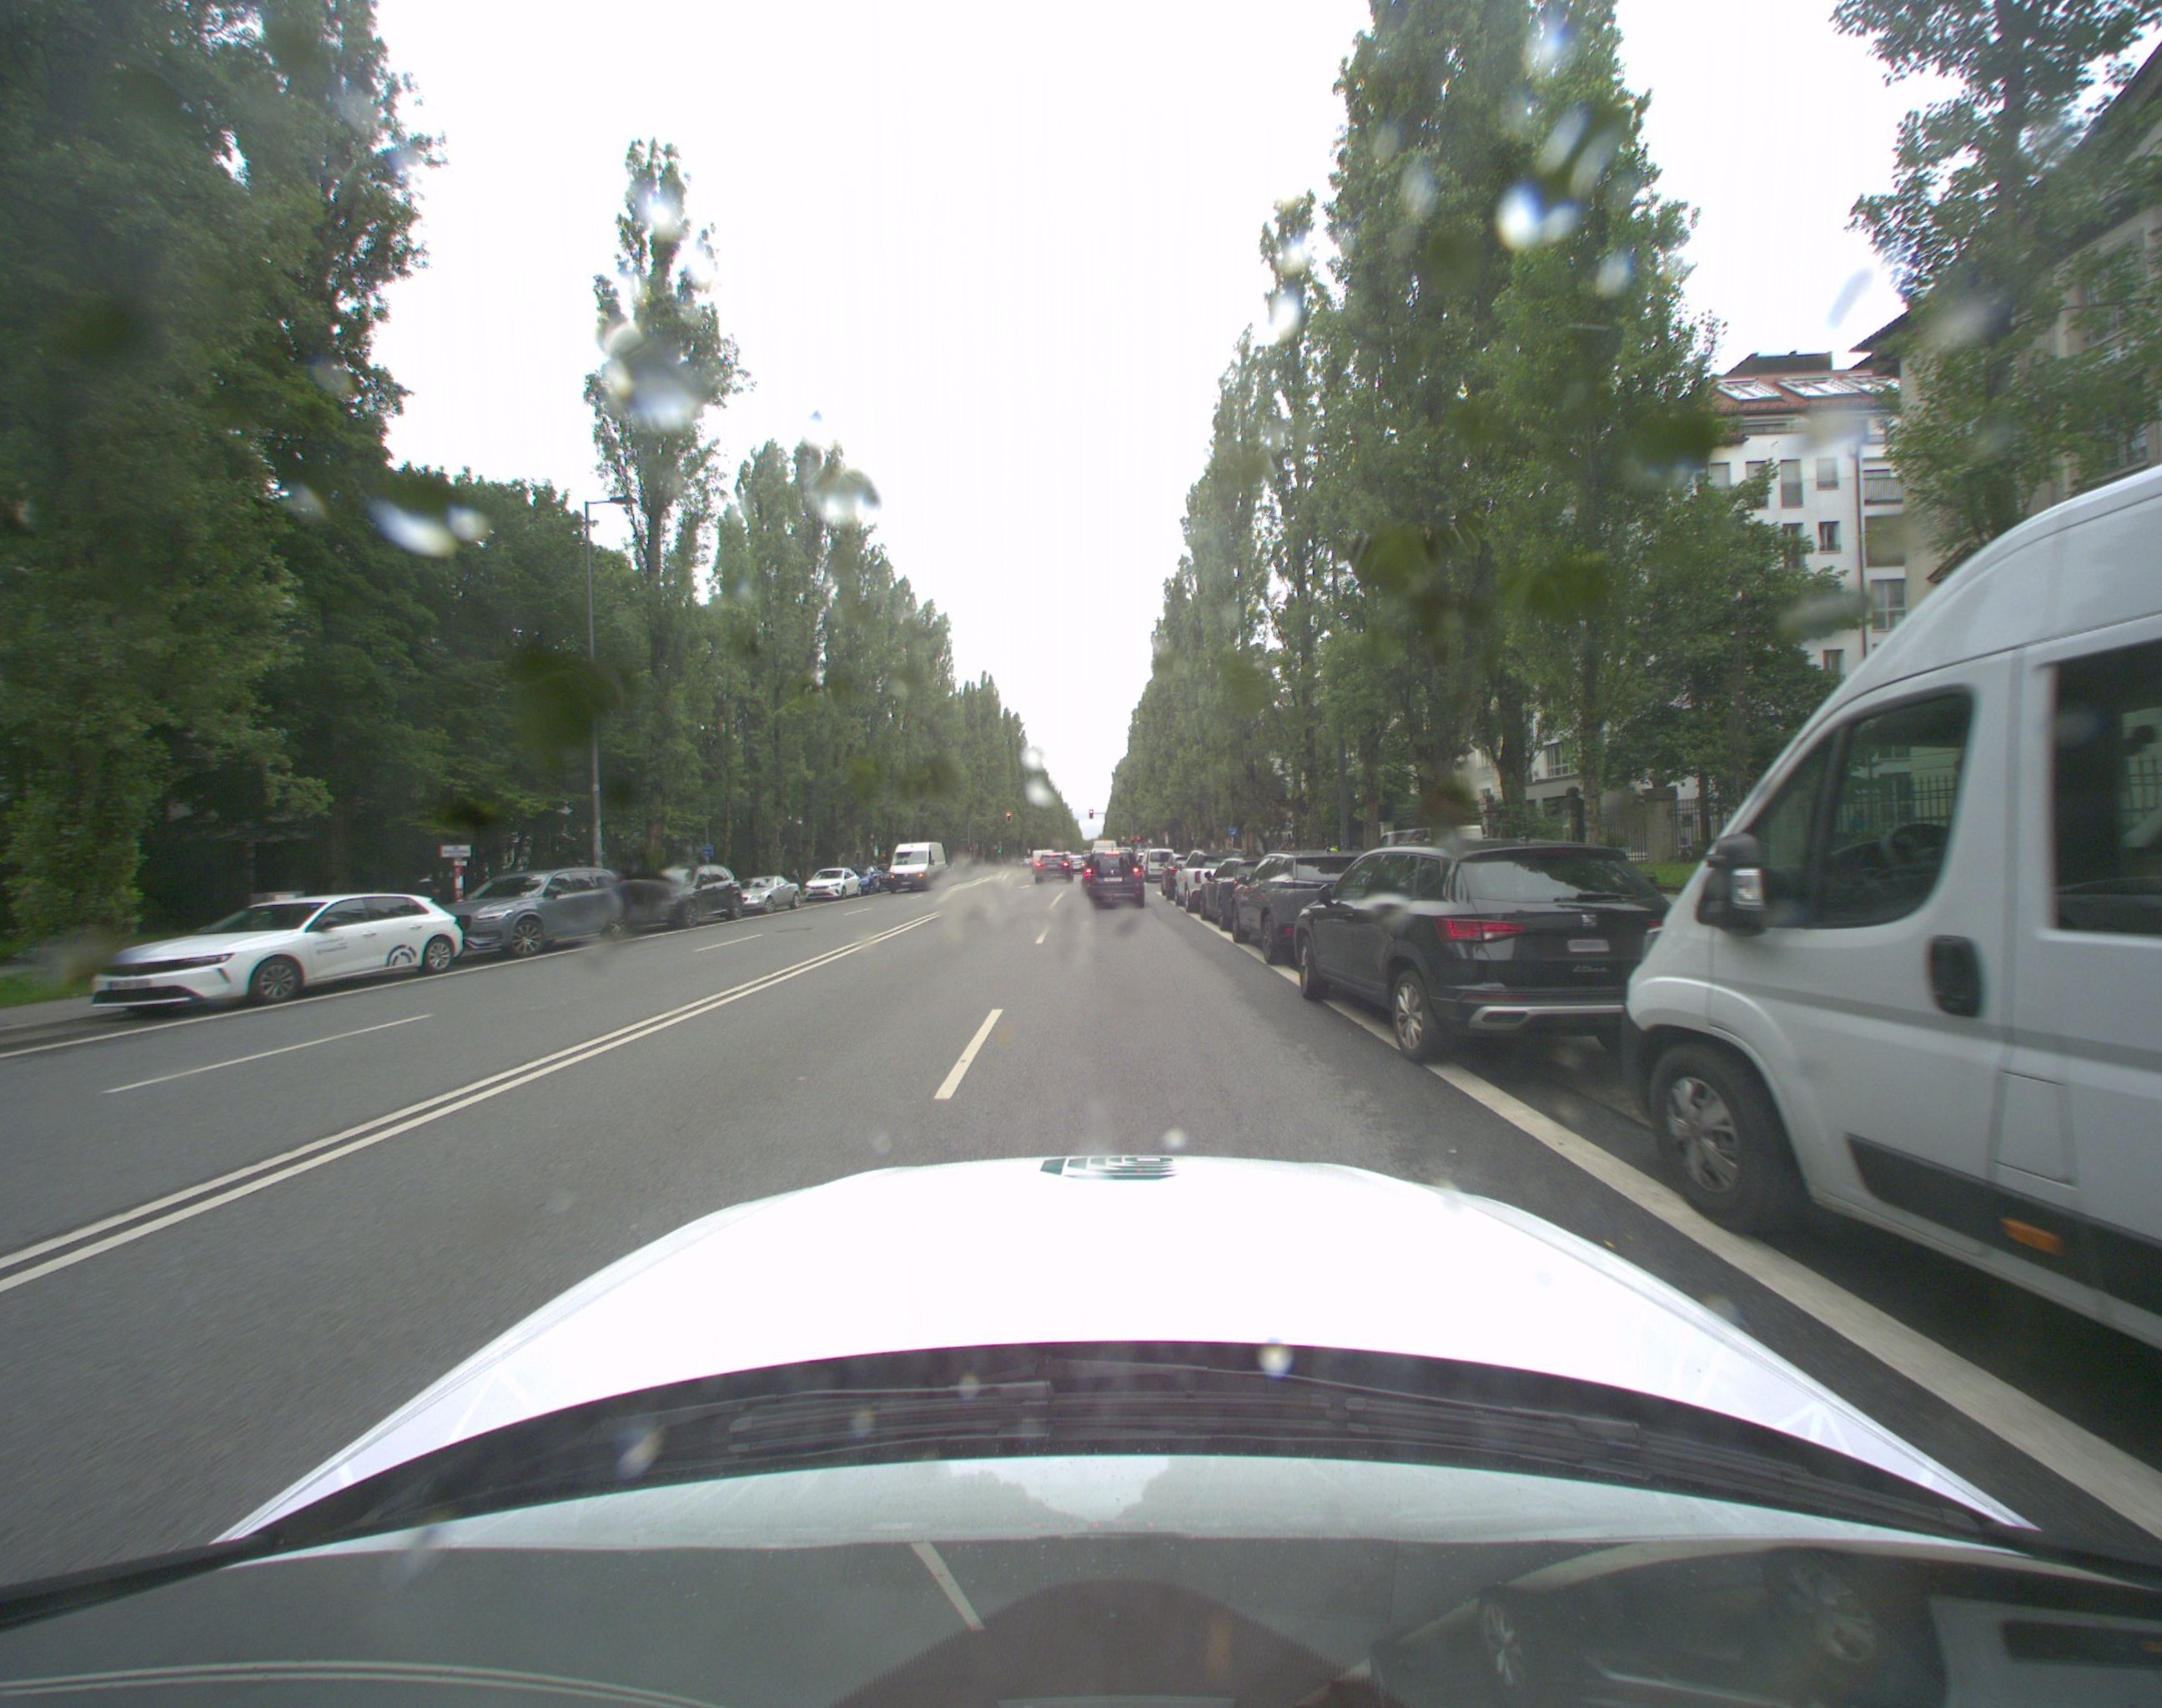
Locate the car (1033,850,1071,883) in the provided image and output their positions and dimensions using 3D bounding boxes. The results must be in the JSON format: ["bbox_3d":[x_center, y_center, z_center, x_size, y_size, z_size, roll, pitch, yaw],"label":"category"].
[{"bbox_3d":[-1.525,0.647,44.309,1.775,1.620,4.026,-3,0,1],"label":"car"}]

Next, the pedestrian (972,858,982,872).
[{"bbox_3d":[-13.402,1.414,105.056,0.887,1.655,0.868,-2,0,-37],"label":"pedestrian"}]

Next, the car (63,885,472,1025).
[{"bbox_3d":[-11.664,1.332,12.211,1.698,1.459,4.273,-4,0,1],"label":"car"}]

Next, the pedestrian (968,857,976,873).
[{"bbox_3d":[-10.749,1.078,80.554,0.658,1.577,0.530,-2,0,2],"label":"pedestrian"}]

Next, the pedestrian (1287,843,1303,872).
[{"bbox_3d":[11.855,0.185,45.128,0.566,1.578,0.867,-2,0,1],"label":"pedestrian"}]

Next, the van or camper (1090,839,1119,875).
[{"bbox_3d":[1.715,0.213,60.814,1.969,2.548,4.024,-2,0,0],"label":"van or camper"}]

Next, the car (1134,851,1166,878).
[{"bbox_3d":[4.319,0.640,51.822,1.734,1.593,4.213,-2,0,1],"label":"car"}]

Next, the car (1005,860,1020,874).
[{"bbox_3d":[-9.626,1.829,114.653,1.682,1.783,3.776,-2,0,1],"label":"car"}]

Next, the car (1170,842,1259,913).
[{"bbox_3d":[3.539,0.572,22.368,1.736,1.675,4.581,-2,0,1],"label":"car"}]

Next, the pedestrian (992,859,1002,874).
[{"bbox_3d":[-10.592,1.554,102.629,0.967,1.767,0.678,-2,0,-21],"label":"pedestrian"}]

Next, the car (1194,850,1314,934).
[{"bbox_3d":[3.553,0.707,17.435,1.696,1.520,4.296,-2,0,1],"label":"car"}]

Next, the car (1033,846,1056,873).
[{"bbox_3d":[-2.996,0.420,67.339,1.776,2.111,4.022,-2,0,-2],"label":"car"}]

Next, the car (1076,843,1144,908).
[{"bbox_3d":[0.846,0.579,24.120,1.849,1.770,4.001,0,0,1],"label":"car"}]

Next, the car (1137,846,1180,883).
[{"bbox_3d":[4.195,0.524,44.635,1.845,1.881,4.167,-2,0,-1],"label":"car"}]

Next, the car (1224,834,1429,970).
[{"bbox_3d":[3.442,0.584,12.407,1.777,1.618,4.639,-2,0,1],"label":"car"}]

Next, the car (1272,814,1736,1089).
[{"bbox_3d":[3.170,0.598,7.295,1.779,1.648,4.416,-2,0,-1],"label":"car"}]

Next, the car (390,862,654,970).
[{"bbox_3d":[-11.618,1.158,17.523,1.903,1.789,5.180,-5,0,1],"label":"car"}]

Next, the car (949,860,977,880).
[{"bbox_3d":[-10.673,1.445,74.129,1.844,1.654,4.693,-4,0,-1],"label":"car"}]

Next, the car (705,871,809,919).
[{"bbox_3d":[-11.386,1.392,28.953,1.820,1.334,4.234,-4,0,1],"label":"car"}]

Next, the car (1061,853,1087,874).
[{"bbox_3d":[-0.528,0.756,66.336,1.987,1.560,4.000,-2,0,0],"label":"car"}]

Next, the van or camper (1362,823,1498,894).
[{"bbox_3d":[10.626,0.113,25.321,2.068,1.933,5.371,-1,0,2],"label":"van or camper"}]

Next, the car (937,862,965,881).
[{"bbox_3d":[-10.865,1.450,68.180,1.619,1.389,4.165,-4,0,-1],"label":"car"}]

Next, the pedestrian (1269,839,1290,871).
[{"bbox_3d":[10.974,0.036,45.005,0.850,1.717,0.867,-3,0,1],"label":"pedestrian"}]

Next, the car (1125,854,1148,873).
[{"bbox_3d":[4.668,0.759,68.495,1.729,1.475,3.563,-2,0,1],"label":"car"}]

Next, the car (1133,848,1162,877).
[{"bbox_3d":[4.602,0.595,57.117,1.729,1.895,4.026,-2,0,1],"label":"car"}]

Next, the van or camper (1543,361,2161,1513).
[{"bbox_3d":[3.425,0.169,0.986,2.131,2.540,6.418,-2,0,1],"label":"van or camper"}]

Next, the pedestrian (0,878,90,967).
[{"bbox_3d":[-21.352,1.386,16.763,0.664,1.741,0.957,-2,0,2],"label":"pedestrian"}]

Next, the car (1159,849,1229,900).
[{"bbox_3d":[3.762,0.640,27.795,1.873,1.540,4.466,-2,0,2],"label":"car"}]

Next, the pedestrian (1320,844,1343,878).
[{"bbox_3d":[13.657,0.370,44.407,0.905,1.800,0.825,-3,2,-20],"label":"pedestrian"}]

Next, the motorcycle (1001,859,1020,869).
[{"bbox_3d":[-9.178,1.307,106.151,2.355,1.269,0.930,-2,0,1],"label":"motorcycle"}]

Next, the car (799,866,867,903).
[{"bbox_3d":[-11.401,1.359,37.743,1.765,1.452,4.233,-4,0,0],"label":"car"}]

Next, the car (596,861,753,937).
[{"bbox_3d":[-11.408,1.181,23.341,1.935,1.767,4.895,-4,0,0],"label":"car"}]

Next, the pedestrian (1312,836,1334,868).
[{"bbox_3d":[13.534,-0.115,45.526,0.801,1.782,0.816,-2,0,-16],"label":"pedestrian"}]

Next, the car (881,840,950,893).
[{"bbox_3d":[-8.747,0.605,43.722,2.221,2.483,6.756,-4,0,-1],"label":"car"}]

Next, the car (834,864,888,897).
[{"bbox_3d":[-11.229,1.329,41.818,1.704,1.451,3.585,-5,0,0],"label":"car"}]
